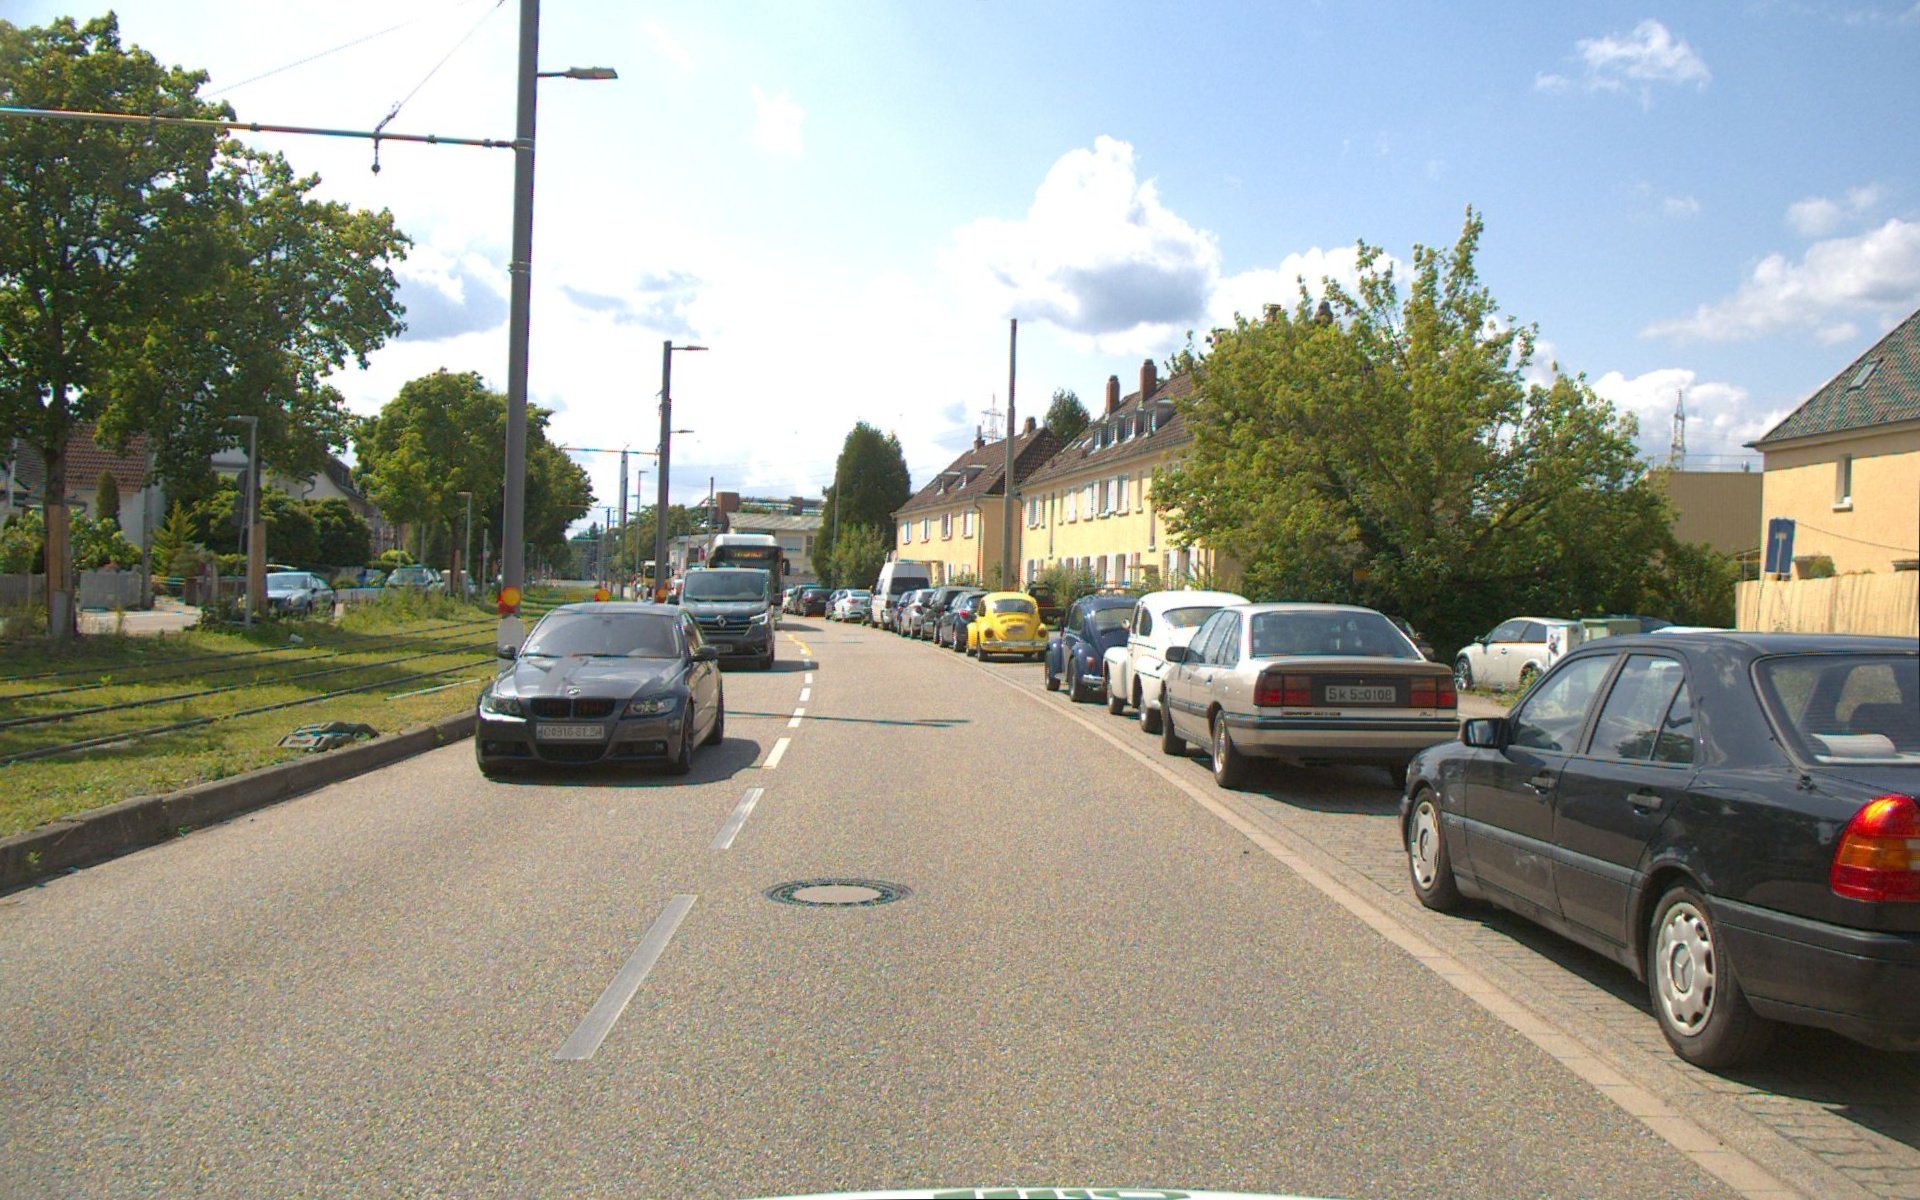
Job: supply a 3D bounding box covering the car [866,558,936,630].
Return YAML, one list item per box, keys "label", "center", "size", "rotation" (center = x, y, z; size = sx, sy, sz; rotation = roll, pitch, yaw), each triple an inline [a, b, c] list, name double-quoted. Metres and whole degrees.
- label: "car"
  center: [-2.237, -0.221, 61.567]
  size: [1.894, 2.524, 5.505]
  rotation: [1, 0, -9]

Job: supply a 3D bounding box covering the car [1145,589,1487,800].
- label: "car"
  center: [2.835, 0.672, 14.303]
  size: [1.672, 1.474, 4.832]
  rotation: [2, 0, -3]

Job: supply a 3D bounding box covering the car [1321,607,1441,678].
- label: "car"
  center: [9.134, 0.890, 36.170]
  size: [1.602, 1.379, 4.088]
  rotation: [1, 0, 0]

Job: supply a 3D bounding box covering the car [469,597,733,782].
- label: "car"
  center: [-3.109, 0.706, 15.103]
  size: [1.690, 1.413, 4.119]
  rotation: [2, 0, -3]

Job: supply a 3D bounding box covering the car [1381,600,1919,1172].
- label: "car"
  center: [3.134, 0.775, 6.610]
  size: [1.546, 1.474, 4.451]
  rotation: [2, 0, -3]

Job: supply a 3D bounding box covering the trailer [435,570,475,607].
- label: "trailer"
  center: [-24.300, -0.555, 79.672]
  size: [1.538, 1.707, 3.362]
  rotation: [2, 0, -13]

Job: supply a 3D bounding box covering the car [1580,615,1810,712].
- label: "car"
  center: [12.122, 0.999, 27.579]
  size: [1.605, 1.398, 4.081]
  rotation: [1, 0, -7]

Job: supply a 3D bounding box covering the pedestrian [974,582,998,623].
- label: "pedestrian"
  center: [1.078, 0.100, 68.568]
  size: [0.838, 1.681, 0.636]
  rotation: [2, 0, -8]

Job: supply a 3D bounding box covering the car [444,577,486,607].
- label: "car"
  center: [-25.591, -0.426, 85.619]
  size: [1.698, 1.531, 4.554]
  rotation: [0, 1, -12]

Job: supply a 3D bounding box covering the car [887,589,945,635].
- label: "car"
  center: [-1.527, 0.385, 56.259]
  size: [1.507, 1.470, 3.730]
  rotation: [2, 0, -8]

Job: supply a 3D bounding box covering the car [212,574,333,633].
- label: "car"
  center: [-18.393, 0.075, 44.479]
  size: [1.785, 1.430, 4.804]
  rotation: [2, 0, -8]

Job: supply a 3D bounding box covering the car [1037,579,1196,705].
- label: "car"
  center: [2.222, 0.554, 24.515]
  size: [1.519, 1.670, 4.241]
  rotation: [2, 0, -6]

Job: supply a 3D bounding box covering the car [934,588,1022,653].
- label: "car"
  center: [0.402, 0.483, 42.239]
  size: [1.605, 1.508, 4.117]
  rotation: [2, 0, -8]

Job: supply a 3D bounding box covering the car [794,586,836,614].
- label: "car"
  center: [-7.774, -0.003, 88.144]
  size: [1.733, 1.442, 3.987]
  rotation: [0, 1, -13]

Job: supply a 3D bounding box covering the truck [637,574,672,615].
- label: "truck"
  center: [-27.192, -0.518, 147.202]
  size: [2.517, 3.520, 7.121]
  rotation: [0, 1, -15]

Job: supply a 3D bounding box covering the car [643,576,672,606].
- label: "car"
  center: [-18.931, -0.566, 103.708]
  size: [1.703, 1.804, 4.298]
  rotation: [2, 0, -10]

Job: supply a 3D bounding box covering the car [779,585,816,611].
- label: "car"
  center: [-9.654, -0.134, 97.944]
  size: [1.733, 1.502, 3.987]
  rotation: [0, 1, -13]

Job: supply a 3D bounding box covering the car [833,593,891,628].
- label: "car"
  center: [-4.350, 0.456, 73.013]
  size: [1.768, 1.483, 4.749]
  rotation: [0, 0, -13]

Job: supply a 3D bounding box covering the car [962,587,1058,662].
- label: "car"
  center: [1.069, 0.506, 36.947]
  size: [1.605, 1.508, 3.927]
  rotation: [-1, 1, -6]

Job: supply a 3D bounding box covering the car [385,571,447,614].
- label: "car"
  center: [-21.279, -0.299, 64.831]
  size: [1.779, 1.614, 4.554]
  rotation: [0, 1, -12]

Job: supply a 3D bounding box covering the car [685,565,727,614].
- label: "car"
  center: [-13.629, -0.559, 88.679]
  size: [2.064, 2.486, 5.559]
  rotation: [2, 0, -9]

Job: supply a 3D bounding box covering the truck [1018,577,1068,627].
- label: "truck"
  center: [2.999, 0.074, 59.961]
  size: [1.321, 1.718, 2.436]
  rotation: [1, 0, -9]

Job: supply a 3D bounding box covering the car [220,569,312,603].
- label: "car"
  center: [-34.237, -0.688, 81.699]
  size: [3.921, 1.598, 1.787]
  rotation: [1, 0, -16]

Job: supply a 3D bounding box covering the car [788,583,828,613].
- label: "car"
  center: [-8.595, -0.147, 93.161]
  size: [1.733, 1.672, 3.987]
  rotation: [0, 1, -13]

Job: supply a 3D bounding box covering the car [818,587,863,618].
- label: "car"
  center: [-5.762, 0.107, 79.458]
  size: [1.592, 1.442, 3.987]
  rotation: [0, 1, -13]

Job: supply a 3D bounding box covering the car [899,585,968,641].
- label: "car"
  center: [-0.864, 0.381, 51.544]
  size: [1.605, 1.630, 4.022]
  rotation: [2, 0, -8]

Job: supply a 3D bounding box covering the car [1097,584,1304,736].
- label: "car"
  center: [2.687, 0.609, 19.397]
  size: [1.546, 1.539, 4.457]
  rotation: [2, 0, -3]

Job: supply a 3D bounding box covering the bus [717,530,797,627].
- label: "bus"
  center: [-8.149, -0.818, 65.232]
  size: [2.588, 3.472, 12.221]
  rotation: [0, 1, -10]

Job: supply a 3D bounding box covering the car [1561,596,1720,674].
- label: "car"
  center: [15.046, 0.735, 36.804]
  size: [1.604, 1.574, 4.085]
  rotation: [-1, 1, -4]

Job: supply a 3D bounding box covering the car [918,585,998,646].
- label: "car"
  center: [-0.095, 0.405, 47.569]
  size: [1.606, 1.630, 3.922]
  rotation: [2, 0, -10]

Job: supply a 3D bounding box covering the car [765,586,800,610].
- label: "car"
  center: [-11.186, -0.155, 103.964]
  size: [1.733, 1.465, 3.987]
  rotation: [0, 1, -13]

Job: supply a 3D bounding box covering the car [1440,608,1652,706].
- label: "car"
  center: [9.504, 0.884, 27.162]
  size: [1.605, 1.398, 4.081]
  rotation: [1, 0, -7]

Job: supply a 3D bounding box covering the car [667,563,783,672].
- label: "car"
  center: [-4.670, 0.307, 33.547]
  size: [1.917, 2.000, 5.288]
  rotation: [1, 0, -4]
